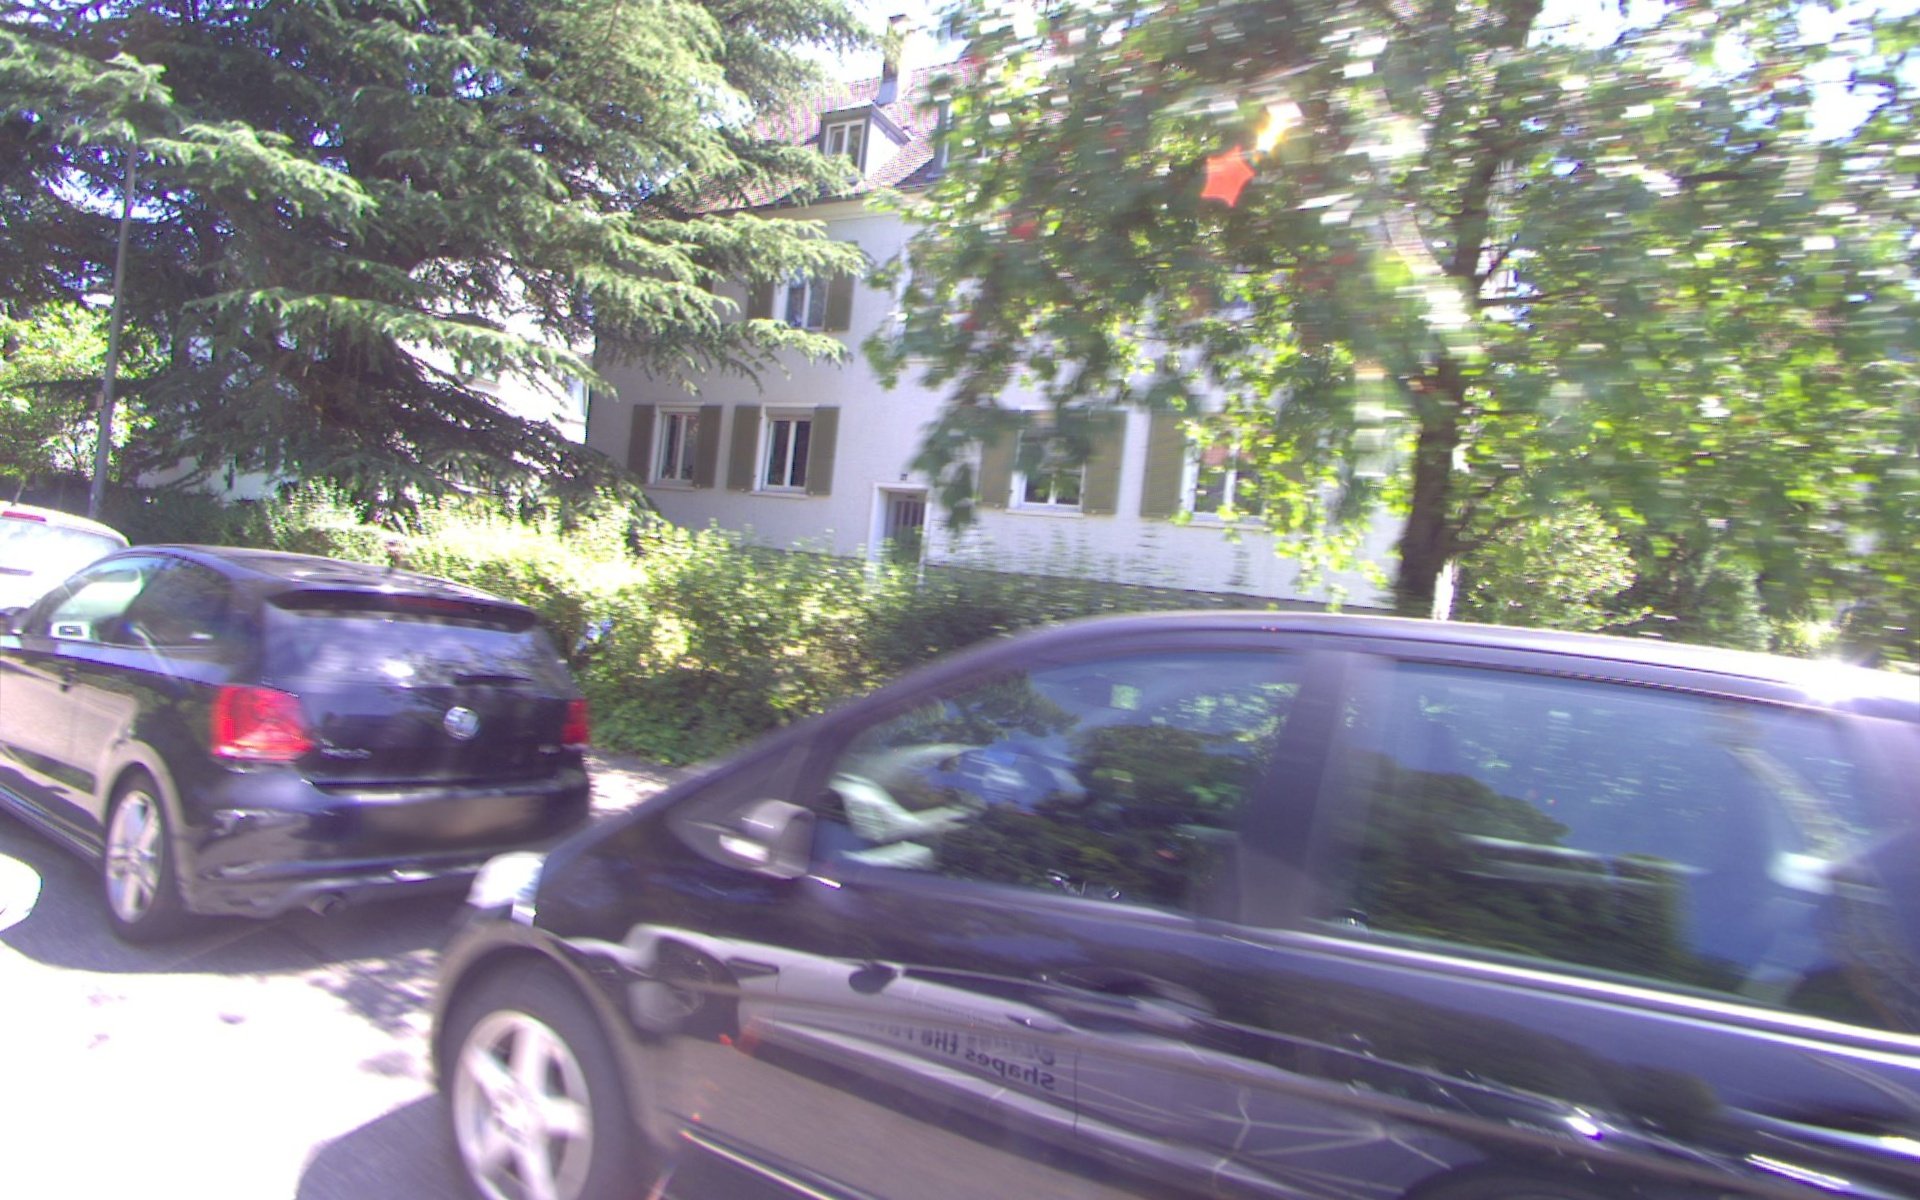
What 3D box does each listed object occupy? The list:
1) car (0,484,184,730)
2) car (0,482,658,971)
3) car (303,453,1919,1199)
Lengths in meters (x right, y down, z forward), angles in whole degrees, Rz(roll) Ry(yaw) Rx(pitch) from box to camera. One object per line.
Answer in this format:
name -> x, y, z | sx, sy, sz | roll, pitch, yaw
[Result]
car -> -7.742, -0.093, 7.511 | 3.997, 1.528, 1.619 | 5, -5, 32
car -> -3.481, 0.349, 4.834 | 3.944, 1.458, 1.585 | 6, -4, 34
car -> 0.477, 0.663, 2.247 | 3.941, 1.594, 1.584 | 6, -1, 31
